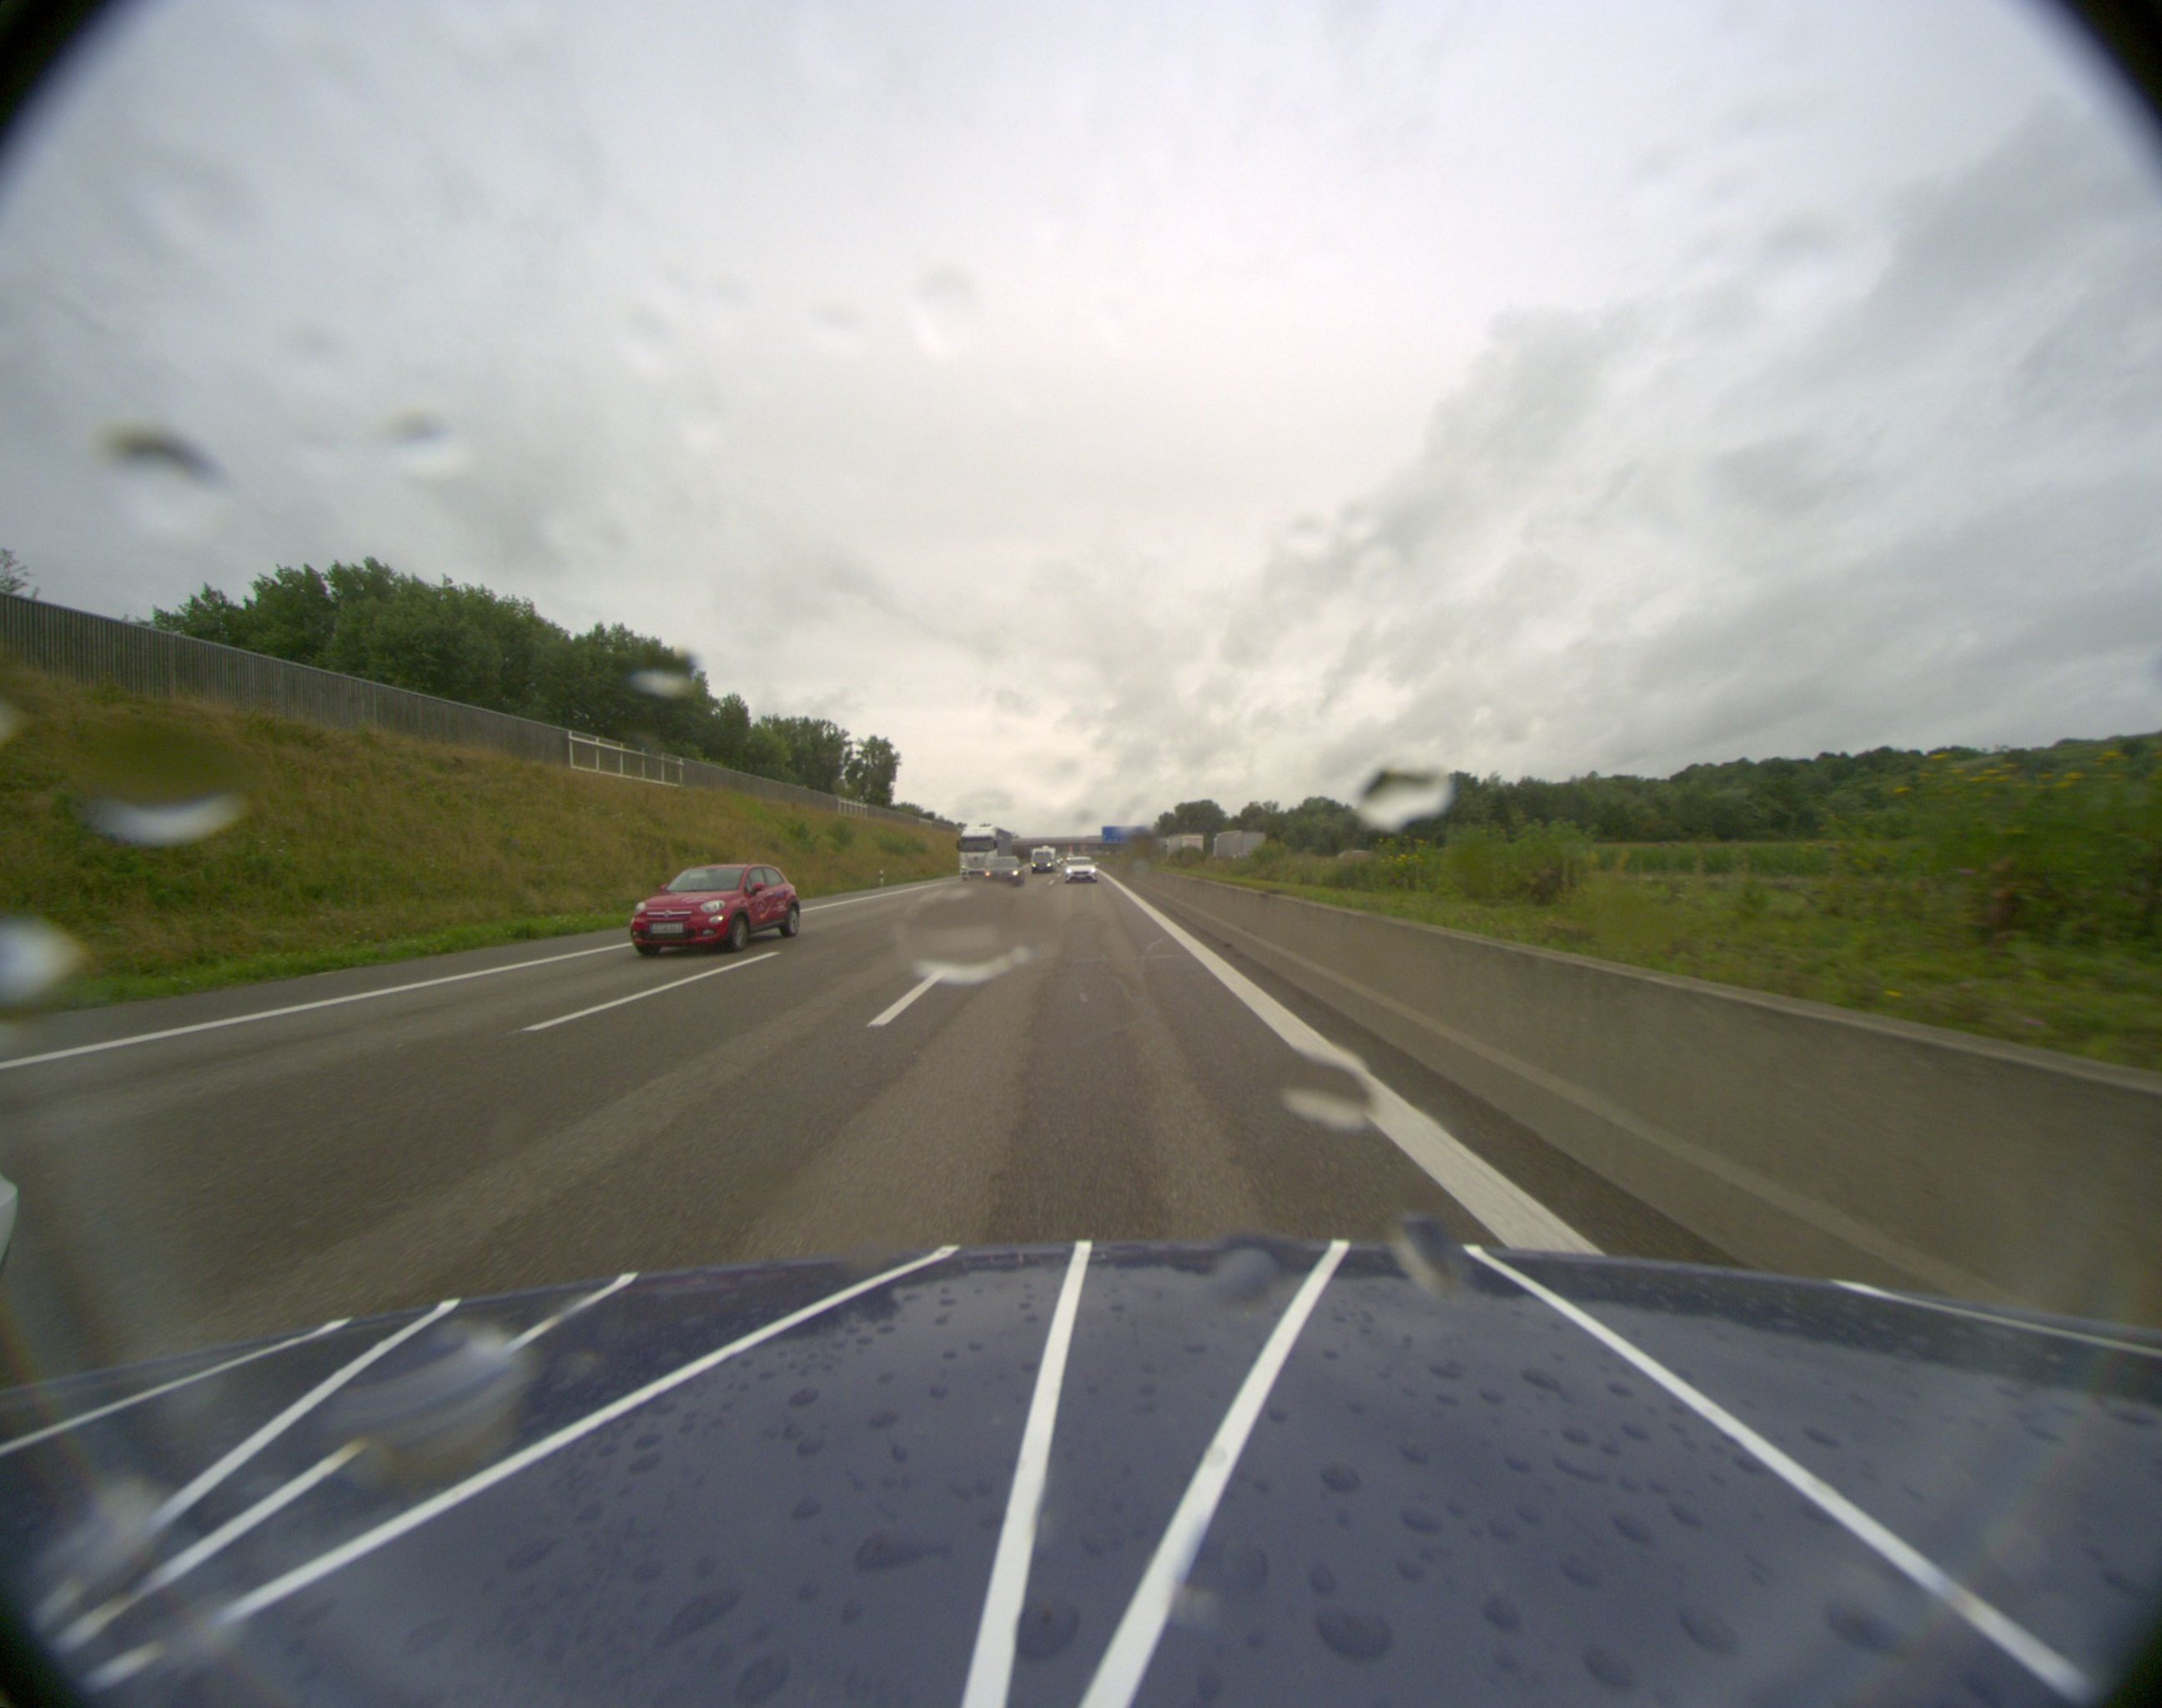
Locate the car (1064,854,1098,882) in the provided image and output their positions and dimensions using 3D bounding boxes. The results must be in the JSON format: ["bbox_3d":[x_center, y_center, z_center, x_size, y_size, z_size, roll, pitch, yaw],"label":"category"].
[{"bbox_3d":[0.044,0.775,44.696,1.840,1.455,4.000,-2,1,2],"label":"car"}]

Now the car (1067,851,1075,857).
[{"bbox_3d":[-2.825,-0.035,211.662,1.999,1.696,4.484,-2,0,-1],"label":"car"}]

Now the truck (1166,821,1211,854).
[{"bbox_3d":[14.057,-2.116,101.036,3.609,3.858,16.109,-2,1,0],"label":"truck"}]

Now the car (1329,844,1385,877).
[{"bbox_3d":[17.932,0.390,49.624,1.998,2.002,4.480,-2,1,0],"label":"car"}]

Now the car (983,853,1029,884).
[{"bbox_3d":[-4.061,0.771,41.600,1.929,1.480,4.485,-2,1,1],"label":"car"}]

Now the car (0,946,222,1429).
[{"bbox_3d":[-4.195,1.076,0.407,1.878,1.355,4.812,-2,1,1],"label":"car"}]

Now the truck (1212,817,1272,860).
[{"bbox_3d":[18.116,-1.726,87.141,3.333,4.317,16.898,-2,1,0],"label":"truck"}]

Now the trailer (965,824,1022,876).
[{"bbox_3d":[-7.471,-0.376,67.551,3.089,4.003,15.220,-2,1,0],"label":"trailer"}]

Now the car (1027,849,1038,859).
[{"bbox_3d":[-9.632,-0.064,151.516,1.998,2.002,4.262,-1,0,0],"label":"car"}]

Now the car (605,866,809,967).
[{"bbox_3d":[-6.968,1.075,14.705,1.878,1.526,3.999,-2,1,0],"label":"car"}]

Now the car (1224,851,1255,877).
[{"bbox_3d":[13.616,0.809,65.510,1.813,2.002,3.999,-2,2,0],"label":"car"}]

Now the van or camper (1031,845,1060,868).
[{"bbox_3d":[-3.607,0.214,78.817,2.432,2.139,6.498,-2,1,2],"label":"van or camper"}]

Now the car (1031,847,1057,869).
[{"bbox_3d":[-3.584,0.359,74.025,1.998,2.002,4.938,-2,1,3],"label":"car"}]

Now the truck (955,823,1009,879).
[{"bbox_3d":[-7.573,-0.279,59.102,3.089,4.003,6.956,-2,1,0],"label":"truck"}]

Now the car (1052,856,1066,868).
[{"bbox_3d":[-3.413,1.197,118.414,1.998,1.759,4.000,0,0,1],"label":"car"}]
